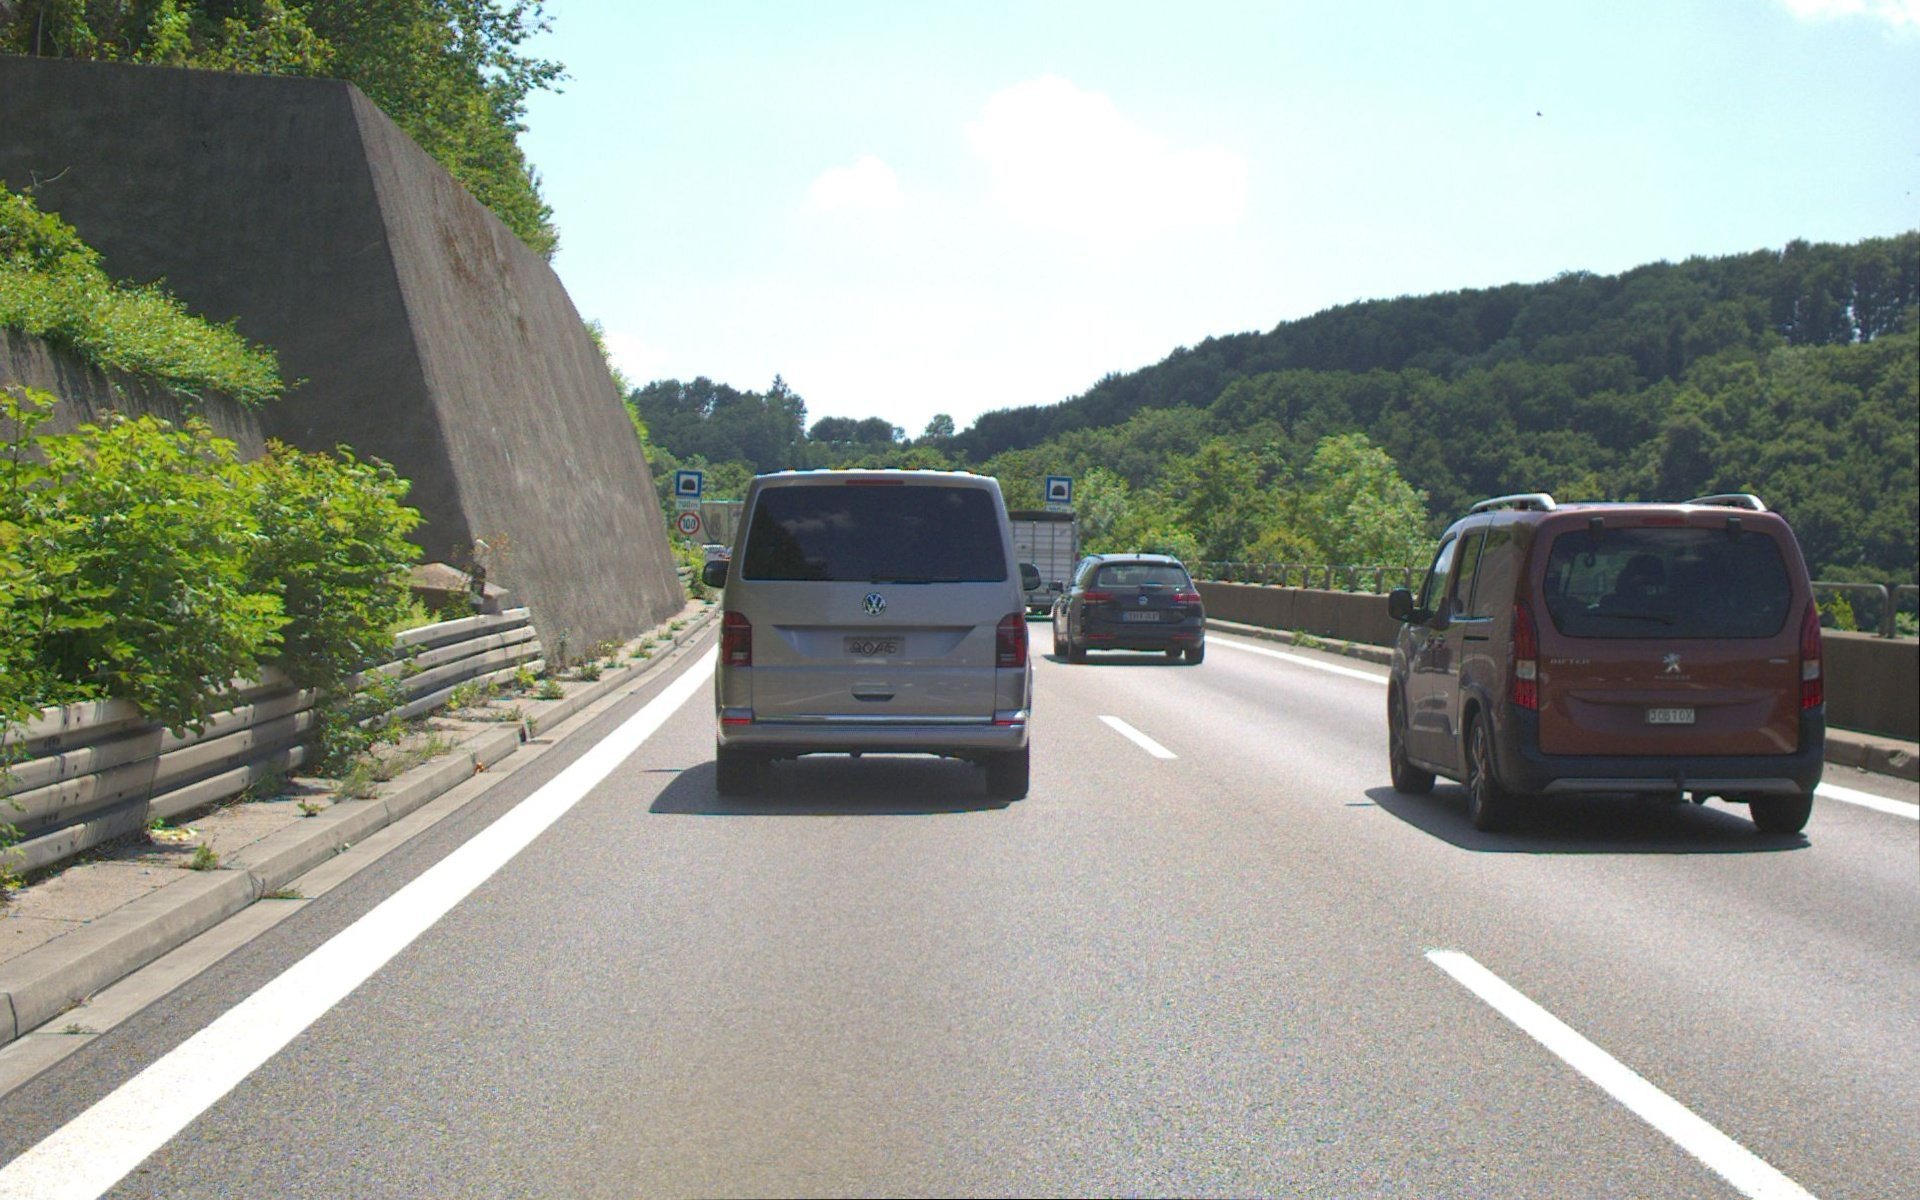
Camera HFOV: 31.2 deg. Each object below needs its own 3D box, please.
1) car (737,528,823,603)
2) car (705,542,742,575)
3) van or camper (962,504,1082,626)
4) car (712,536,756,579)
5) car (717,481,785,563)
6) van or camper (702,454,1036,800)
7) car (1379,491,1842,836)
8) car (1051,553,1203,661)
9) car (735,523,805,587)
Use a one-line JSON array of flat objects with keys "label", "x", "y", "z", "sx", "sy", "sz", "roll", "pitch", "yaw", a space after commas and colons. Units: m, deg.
[{"label": "car", "x": -4.550, "y": -0.875, "z": 86.413, "sx": 1.993, "sy": 1.811, "sz": 4.001, "roll": 1, "pitch": 1, "yaw": -5}, {"label": "car", "x": -12.628, "y": -2.215, "z": 183.790, "sx": 1.845, "sy": 1.744, "sz": 4.000, "roll": 0, "pitch": 1, "yaw": -2}, {"label": "van or camper", "x": 1.311, "y": -0.773, "z": 75.159, "sx": 2.263, "sy": 2.542, "sz": 4.737, "roll": -1, "pitch": 1, "yaw": -3}, {"label": "car", "x": -10.817, "y": -2.048, "z": 164.955, "sx": 1.993, "sy": 2.007, "sz": 4.000, "roll": -1, "pitch": 0, "yaw": -3}, {"label": "car", "x": -12.788, "y": -4.759, "z": 210.909, "sx": 4.043, "sy": 4.855, "sz": 10.111, "roll": 0, "pitch": 1, "yaw": -3}, {"label": "van or camper", "x": -0.575, "y": 0.141, "z": 21.688, "sx": 1.875, "sy": 1.943, "sz": 4.294, "roll": -1, "pitch": 0, "yaw": -2}, {"label": "car", "x": 3.634, "y": 0.310, "z": 20.037, "sx": 1.833, "sy": 1.778, "sz": 4.676, "roll": 0, "pitch": 0, "yaw": 0}, {"label": "car", "x": 2.217, "y": 0.065, "z": 46.480, "sx": 1.768, "sy": 1.371, "sz": 3.593, "roll": 1, "pitch": 1, "yaw": -2}, {"label": "car", "x": -5.847, "y": -1.388, "z": 105.277, "sx": 1.993, "sy": 1.908, "sz": 4.001, "roll": 0, "pitch": 1, "yaw": -5}]
